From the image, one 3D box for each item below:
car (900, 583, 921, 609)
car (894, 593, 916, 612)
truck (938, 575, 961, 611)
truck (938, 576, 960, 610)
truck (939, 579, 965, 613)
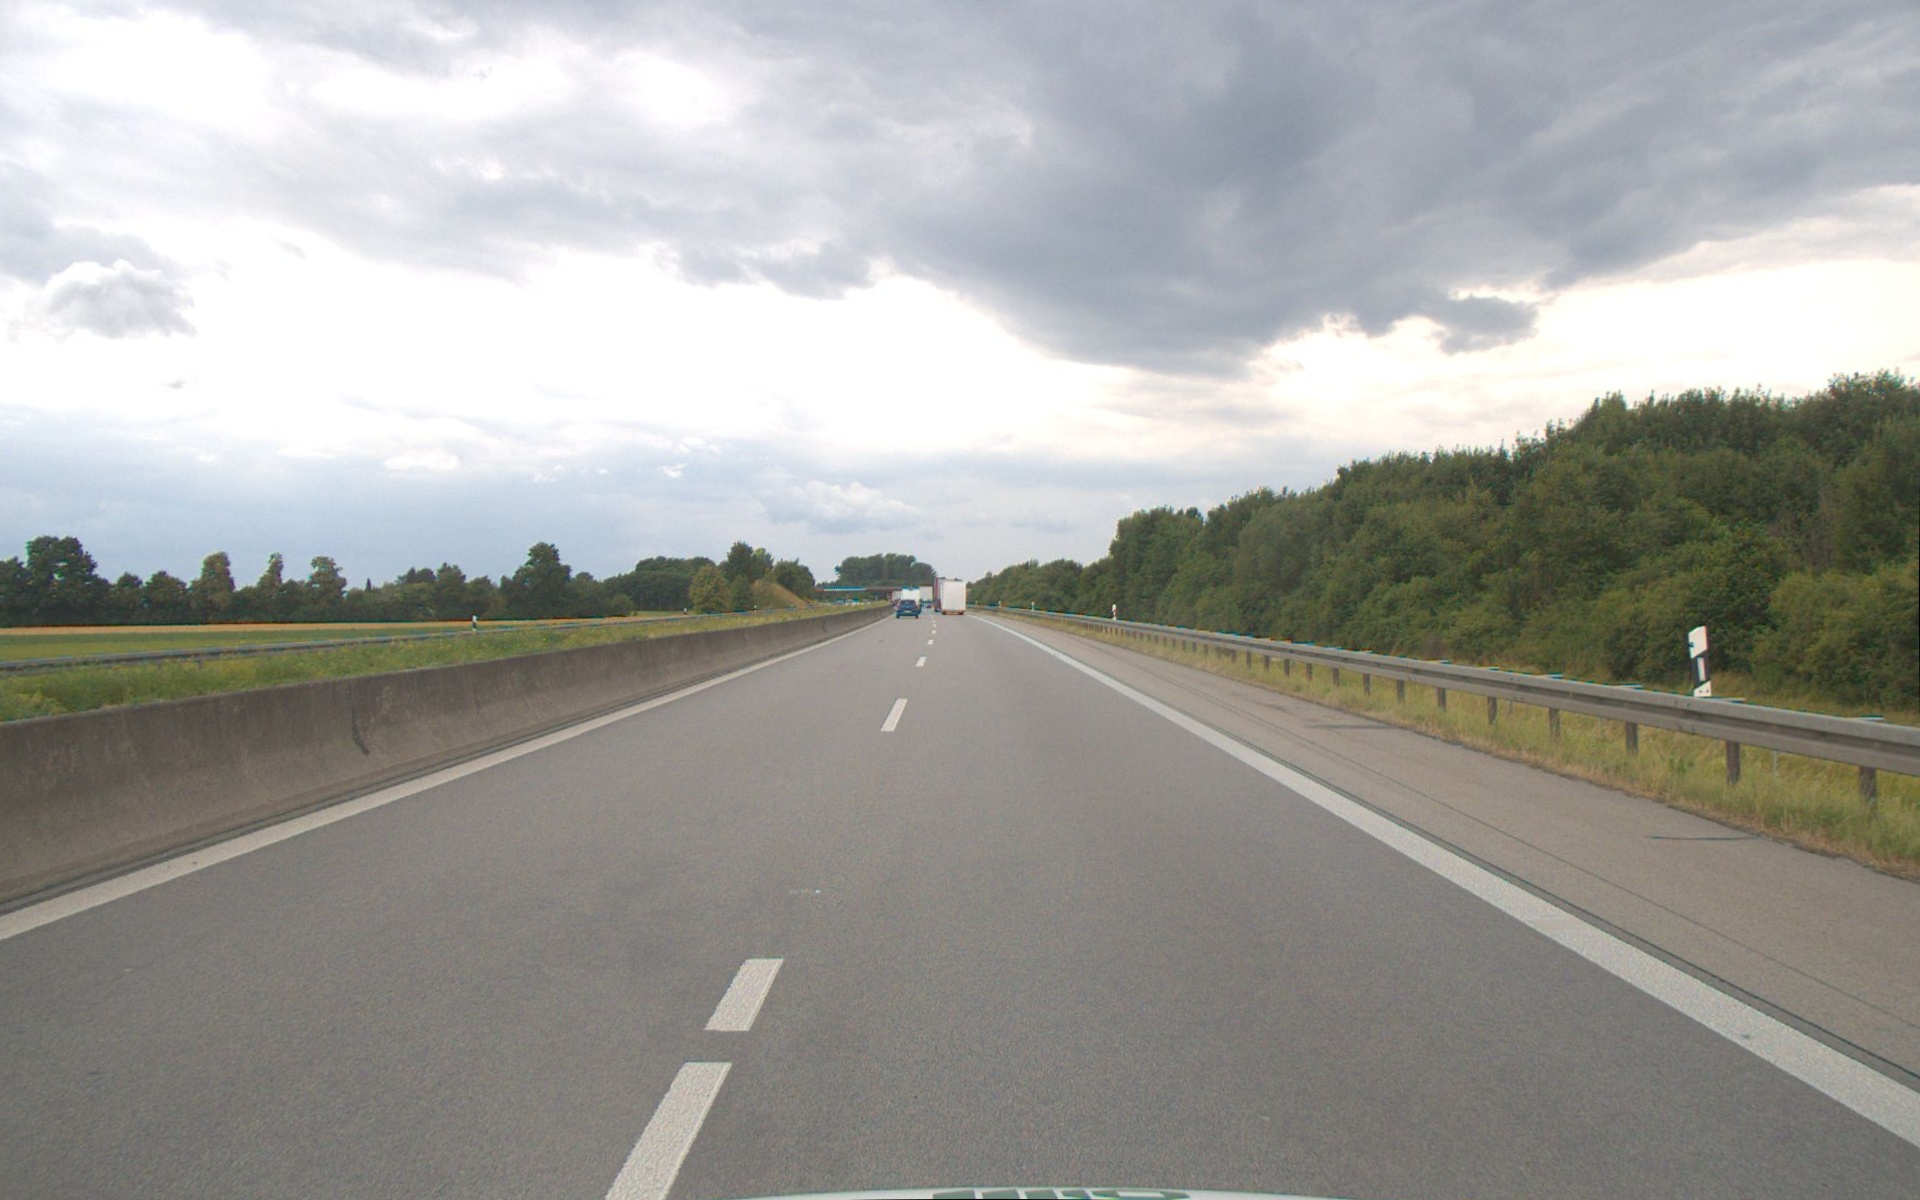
[{"bbox_3d":[-5.022,-0.381,169.574,2.087,2.526,5.838,-1,0,-1],"label":"car"},{"bbox_3d":[-4.277,0.213,127.307,1.630,1.432,3.646,0,0,-3],"label":"car"},{"bbox_3d":[-1.274,-0.828,197.935,2.619,4.116,11.105,-1,0,-1],"label":"truck"},{"bbox_3d":[-1.334,-0.845,203.278,2.619,4.116,5.511,-1,0,-1],"label":"truck"},{"bbox_3d":[-0.804,-0.376,161.085,2.366,3.279,7.141,0,0,-1],"label":"truck"}]
